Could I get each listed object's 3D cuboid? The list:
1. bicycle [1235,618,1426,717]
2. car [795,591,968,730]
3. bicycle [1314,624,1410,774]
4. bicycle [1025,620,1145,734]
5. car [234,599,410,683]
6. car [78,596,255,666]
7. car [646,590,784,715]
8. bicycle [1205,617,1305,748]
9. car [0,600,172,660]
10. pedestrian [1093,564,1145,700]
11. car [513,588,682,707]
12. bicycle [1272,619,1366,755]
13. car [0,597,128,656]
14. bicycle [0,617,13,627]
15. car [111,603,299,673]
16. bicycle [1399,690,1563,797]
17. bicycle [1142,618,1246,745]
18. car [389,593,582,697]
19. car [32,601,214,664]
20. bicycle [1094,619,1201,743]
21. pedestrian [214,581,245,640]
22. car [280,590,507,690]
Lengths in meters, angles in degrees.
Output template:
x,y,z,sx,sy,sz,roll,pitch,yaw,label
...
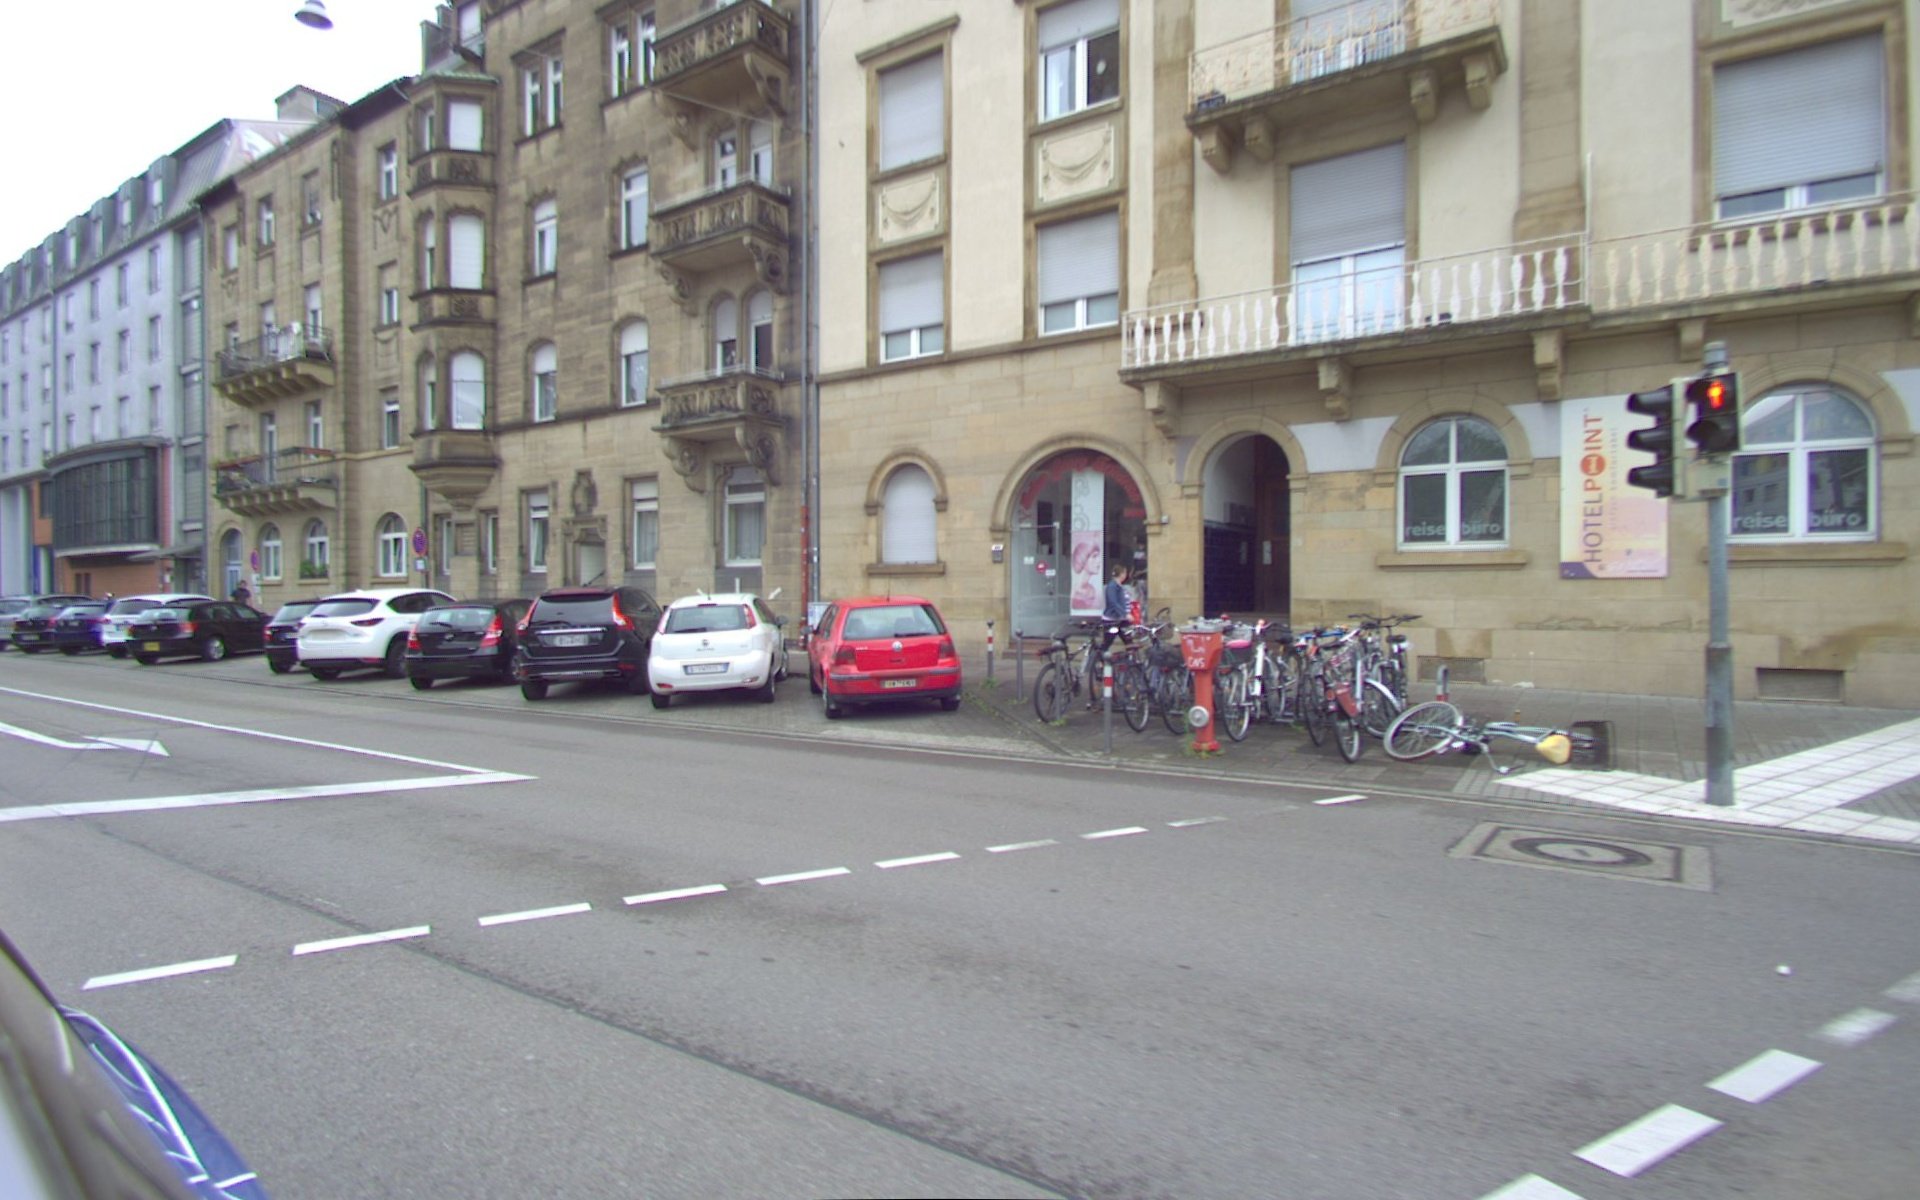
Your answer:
x,y,z,sx,sy,sz,roll,pitch,yaw,label
4.182,0.729,11.524,1.993,1.035,0.497,0,0,36,bicycle
-1.203,0.665,13.526,1.656,1.483,4.011,-2,1,-13,car
3.748,0.848,9.352,0.441,1.043,1.872,-1,5,33,bicycle
1.486,0.839,11.682,0.442,1.043,1.869,-1,4,38,bicycle
-13.513,0.801,21.701,1.546,1.508,3.816,0,2,-4,car
-21.015,0.768,27.028,1.678,1.565,4.003,-2,2,-3,car
-3.522,0.657,15.121,1.540,1.483,4.007,-1,2,-7,car
3.088,0.796,10.467,0.441,1.043,1.872,-1,5,33,bicycle
-25.655,0.826,29.730,1.710,1.449,3.997,-1,2,3,car
2.371,0.464,15.105,0.549,1.973,0.613,-1,-1,36,pedestrian
-5.690,0.638,16.397,1.704,1.664,4.233,0,1,-7,car
3.625,0.812,10.128,0.441,1.043,1.872,-1,5,33,bicycle
-28.217,0.774,31.373,1.707,1.565,4.005,-2,2,-4,car
-47.650,1.093,50.117,0.526,0.440,0.999,2,1,36,bicycle
-18.306,0.858,24.774,1.638,1.428,4.001,0,2,-1,car
4.407,1.145,8.481,1.026,0.448,1.872,-2,4,33,bicycle
2.540,0.819,10.836,0.441,1.043,1.872,-1,5,33,bicycle
-8.409,0.708,18.362,1.706,1.505,4.003,-2,2,-2,car
-23.305,0.860,28.362,1.801,1.456,3.744,-1,2,5,car
2.097,0.838,11.135,0.441,1.043,1.872,-1,5,33,bicycle
-23.033,0.321,31.905,0.640,1.837,0.615,0,-1,35,pedestrian
-11.047,0.698,20.096,1.821,1.736,3.987,0,1,10,car
